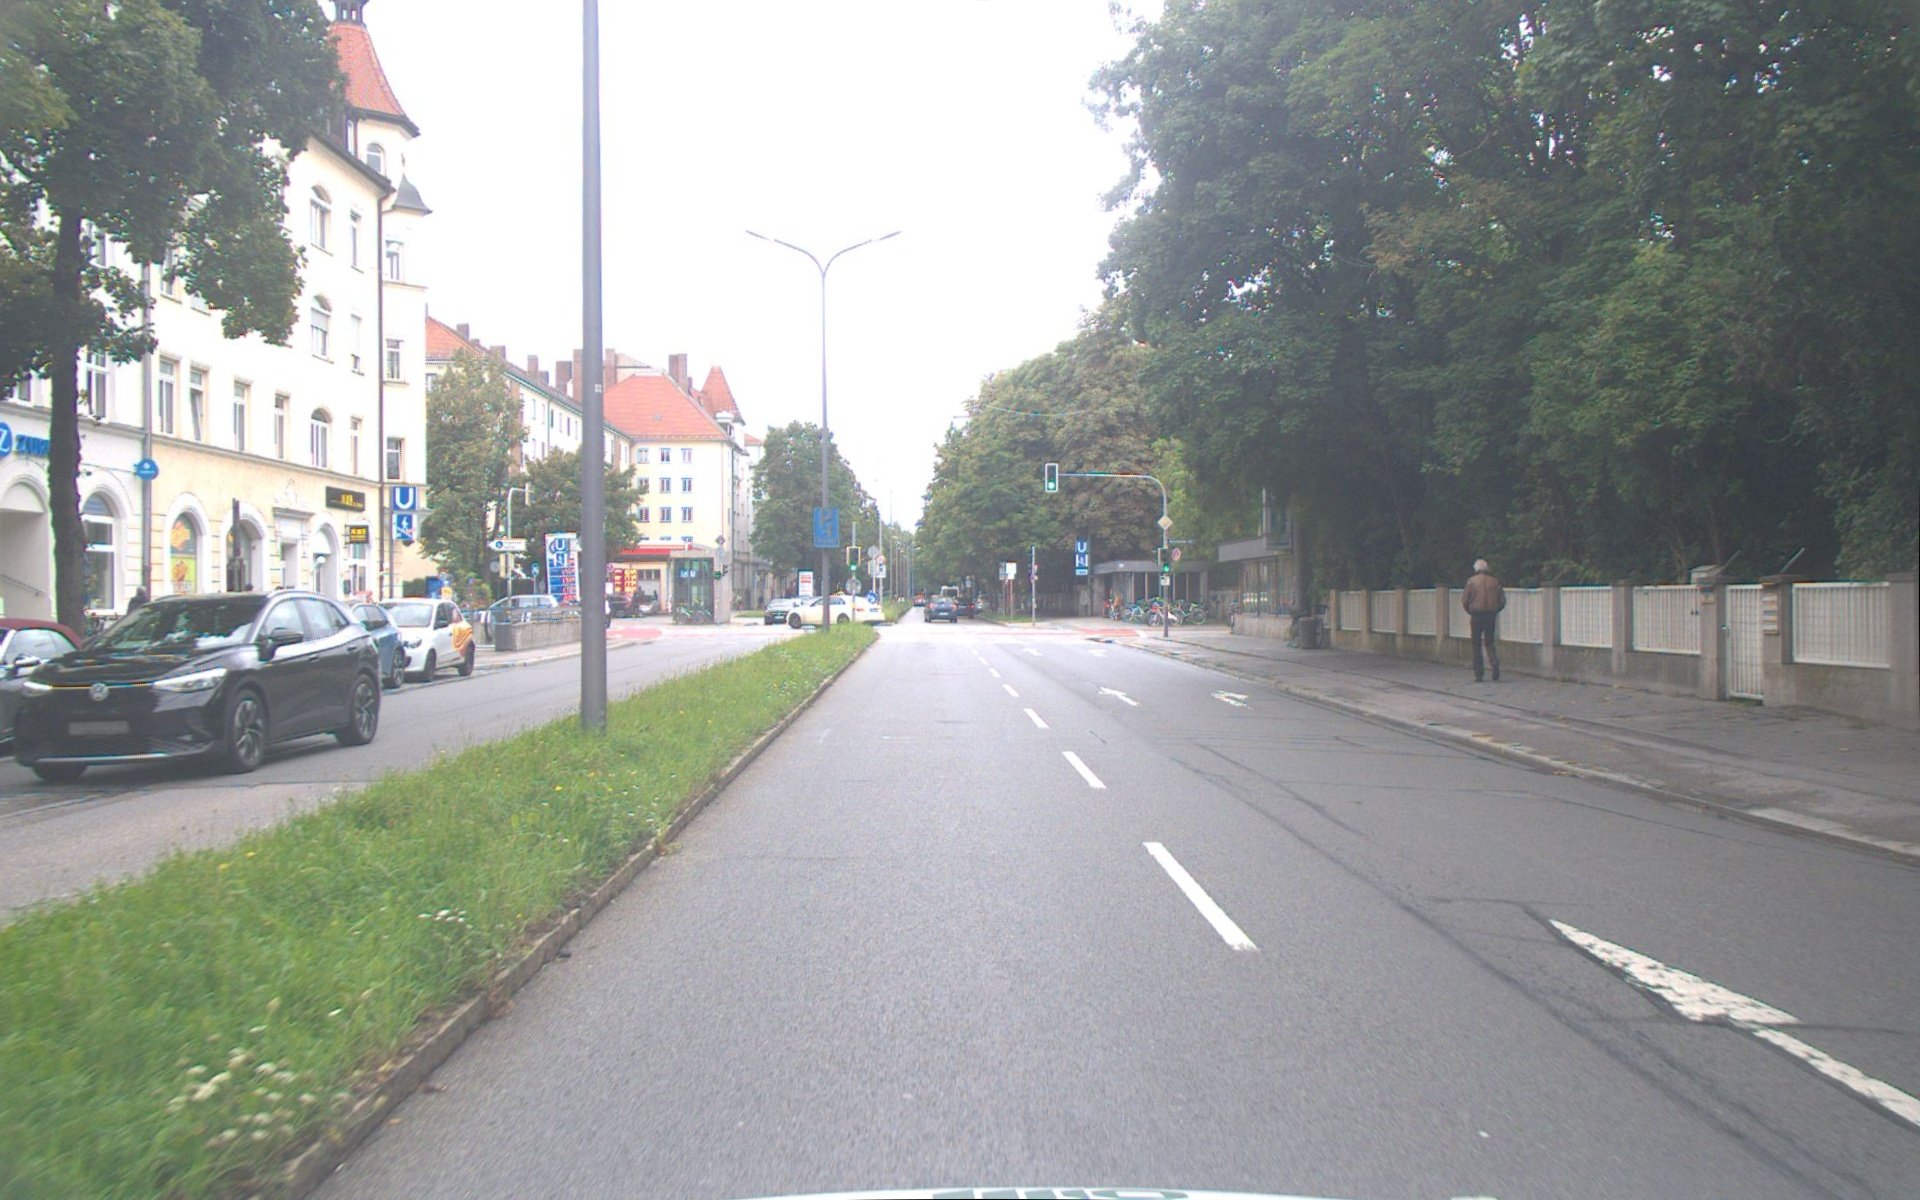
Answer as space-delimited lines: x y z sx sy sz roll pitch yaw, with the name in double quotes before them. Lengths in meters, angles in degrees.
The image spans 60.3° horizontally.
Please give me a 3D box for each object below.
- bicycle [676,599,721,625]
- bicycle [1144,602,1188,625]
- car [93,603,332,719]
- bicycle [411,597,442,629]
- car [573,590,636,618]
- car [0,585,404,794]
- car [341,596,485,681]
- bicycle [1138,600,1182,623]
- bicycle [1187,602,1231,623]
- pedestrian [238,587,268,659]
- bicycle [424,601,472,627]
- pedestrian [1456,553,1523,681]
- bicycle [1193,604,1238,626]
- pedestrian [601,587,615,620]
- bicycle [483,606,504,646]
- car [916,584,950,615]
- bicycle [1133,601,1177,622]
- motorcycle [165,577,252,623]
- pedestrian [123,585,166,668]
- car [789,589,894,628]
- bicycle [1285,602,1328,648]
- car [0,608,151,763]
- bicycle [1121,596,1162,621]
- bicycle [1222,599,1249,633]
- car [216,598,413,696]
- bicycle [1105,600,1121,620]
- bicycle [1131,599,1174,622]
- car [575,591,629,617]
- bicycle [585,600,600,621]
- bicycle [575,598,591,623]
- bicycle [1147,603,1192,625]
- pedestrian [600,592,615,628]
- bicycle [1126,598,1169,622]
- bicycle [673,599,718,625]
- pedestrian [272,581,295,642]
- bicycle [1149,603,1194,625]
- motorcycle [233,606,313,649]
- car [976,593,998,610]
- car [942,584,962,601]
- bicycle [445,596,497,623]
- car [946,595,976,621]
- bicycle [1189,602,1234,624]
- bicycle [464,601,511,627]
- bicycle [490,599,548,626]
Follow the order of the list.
"bicycle" -13.654 0.624 86.331 2.238 1.327 0.694 0 0 0
"bicycle" 9.899 0.634 79.557 2.097 1.089 0.603 0 0 7
"car" -10.831 0.829 24.278 1.774 1.533 3.959 0 0 -1
"bicycle" -16.548 0.395 51.323 0.463 0.998 1.545 0 0 -1
"car" -24.074 0.236 112.193 3.908 1.870 1.879 0 0 -4
"car" -6.997 0.718 15.748 1.837 1.612 4.619 -3 0 -1
"car" -10.930 0.728 33.292 1.615 1.613 3.790 0 0 1
"bicycle" 9.681 0.563 80.216 2.097 1.120 0.603 0 0 7
"bicycle" 12.128 0.621 80.680 2.097 1.032 0.634 0 0 7
"pedestrian" -17.197 0.546 40.214 0.585 1.726 0.937 0 0 -29
"bicycle" -25.064 0.698 81.024 2.141 1.257 0.764 0 0 -11
"pedestrian" 8.392 0.264 26.242 0.762 1.976 0.802 -1 0 -1
"bicycle" 12.207 0.715 79.117 2.097 1.032 0.634 0 0 7
"pedestrian" -18.981 0.185 89.084 0.584 1.725 0.571 0 0 -32
"bicycle" -13.644 0.759 48.371 0.388 1.135 1.810 0 0 -10
"car" -1.535 -0.025 93.143 1.819 1.713 3.999 0 0 -2
"bicycle" 9.539 0.569 80.928 2.097 1.032 0.603 0 0 7
"motorcycle" -19.202 -0.002 42.290 0.598 1.150 1.978 0 -1 38
"pedestrian" -17.107 0.549 34.715 0.532 1.726 0.770 0 0 -3
"car" -5.264 0.368 73.118 4.690 1.675 1.776 0 0 39
"bicycle" 8.801 0.623 42.055 0.609 1.109 2.025 0 0 -1
"car" -10.623 0.878 17.652 1.774 1.533 4.644 0 0 -1
"bicycle" 9.288 0.423 84.692 2.097 1.240 0.603 0 0 7
"bicycle" 9.537 0.551 57.219 0.587 1.141 1.889 0 -1 -1
"car" -10.961 0.746 28.418 1.774 1.533 4.290 0 0 -1
"bicycle" 8.064 0.527 87.374 0.545 1.032 2.014 0 0 -3
"bicycle" 9.484 0.533 81.656 2.097 1.105 0.603 0 0 7
"car" -28.075 0.299 129.797 3.910 2.049 1.889 0 0 -6
"bicycle" -20.219 0.574 91.032 0.596 1.165 1.962 0 0 -7
"bicycle" -19.792 0.550 86.895 0.596 1.257 2.183 0 0 -7
"bicycle" 9.884 0.672 78.136 2.097 1.032 0.603 0 0 7
"pedestrian" -17.035 0.460 79.907 0.523 1.725 0.577 0 0 7
"bicycle" 9.339 0.485 82.391 2.097 1.199 0.603 0 0 7
"bicycle" -13.661 0.636 85.552 2.225 1.327 0.704 0 0 0
"pedestrian" -18.600 0.300 45.464 0.414 1.660 0.781 0 0 -10
"bicycle" 10.066 0.660 78.765 2.097 1.032 0.634 0 0 7
"motorcycle" -18.729 0.739 45.102 0.598 1.142 1.978 0 -1 38
"car" 2.297 0.091 140.704 1.708 1.387 3.805 0 0 -2
"car" -0.832 -0.794 172.992 1.953 1.787 3.999 0 0 -2
"bicycle" -24.164 0.486 81.773 2.352 1.273 0.789 1 -1 -12
"car" 0.054 0.526 113.640 1.884 1.713 3.998 1 0 -2
"bicycle" 12.139 0.616 79.913 2.097 1.032 0.634 0 0 7
"bicycle" -23.166 0.675 81.158 2.142 1.257 0.763 0 0 -13
"bicycle" -21.933 0.631 82.268 2.677 1.273 0.785 2 -1 -32
